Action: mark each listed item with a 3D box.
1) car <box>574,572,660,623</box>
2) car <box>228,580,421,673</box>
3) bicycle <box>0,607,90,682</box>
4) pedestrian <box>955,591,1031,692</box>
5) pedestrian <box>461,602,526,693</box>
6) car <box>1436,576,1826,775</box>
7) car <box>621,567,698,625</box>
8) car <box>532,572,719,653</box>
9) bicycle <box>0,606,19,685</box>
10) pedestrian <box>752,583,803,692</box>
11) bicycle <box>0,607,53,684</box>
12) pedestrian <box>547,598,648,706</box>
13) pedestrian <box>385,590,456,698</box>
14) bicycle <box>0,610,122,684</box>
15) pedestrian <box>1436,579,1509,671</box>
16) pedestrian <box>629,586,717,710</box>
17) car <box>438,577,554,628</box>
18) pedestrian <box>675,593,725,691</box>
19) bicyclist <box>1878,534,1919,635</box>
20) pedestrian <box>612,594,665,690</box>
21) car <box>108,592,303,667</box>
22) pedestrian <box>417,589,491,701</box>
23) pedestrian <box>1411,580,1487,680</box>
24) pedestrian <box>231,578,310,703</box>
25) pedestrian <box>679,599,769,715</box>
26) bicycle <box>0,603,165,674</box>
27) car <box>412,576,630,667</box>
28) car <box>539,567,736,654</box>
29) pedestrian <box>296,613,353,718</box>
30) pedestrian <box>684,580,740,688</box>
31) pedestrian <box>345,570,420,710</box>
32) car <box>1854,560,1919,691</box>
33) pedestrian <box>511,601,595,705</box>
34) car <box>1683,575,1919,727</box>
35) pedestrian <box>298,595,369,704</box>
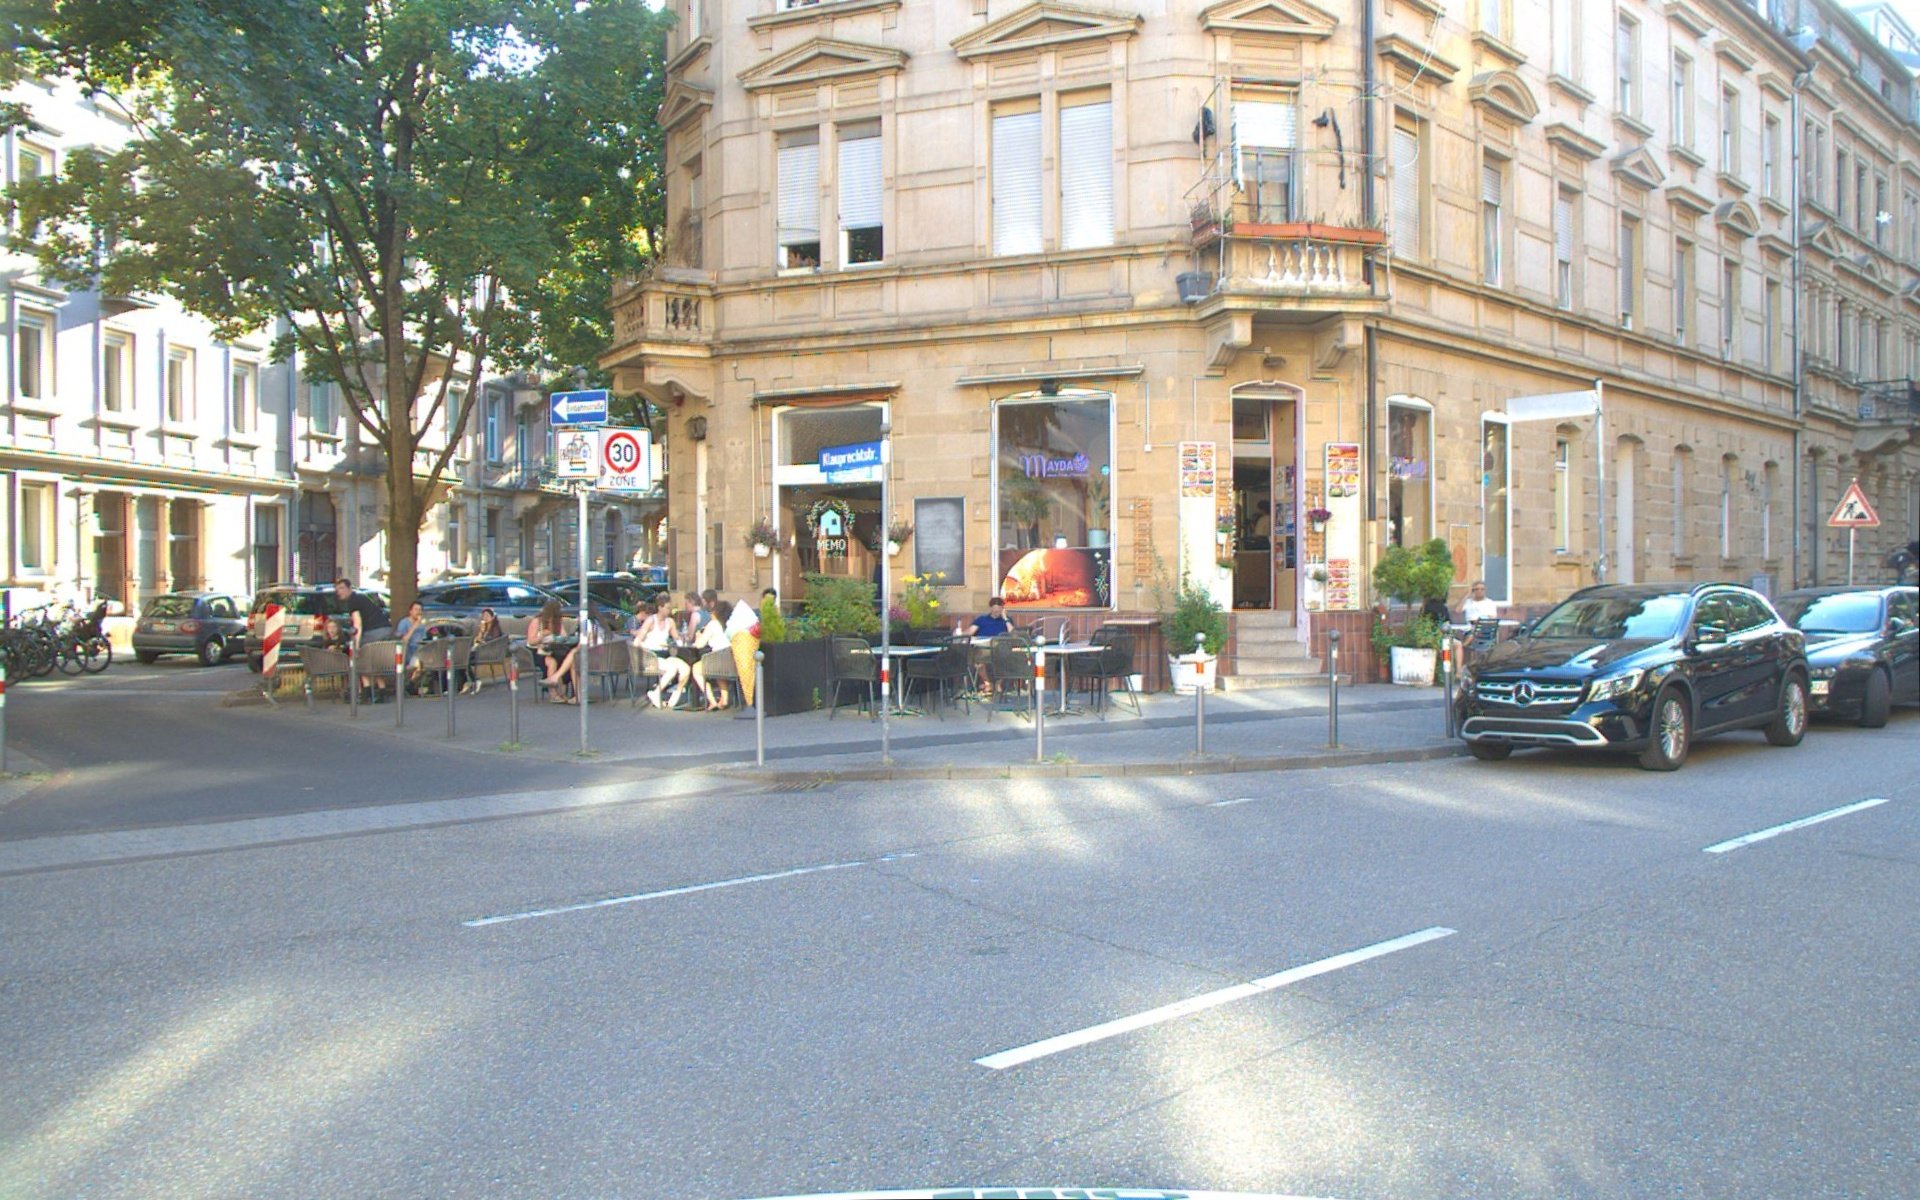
[{"bbox_3d":[-11.992,-0.097,58.091,1.768,1.713,3.755,-1,0,8],"label":"car"},{"bbox_3d":[-12.504,0.482,32.826,1.951,1.713,4.003,-1,0,6],"label":"car"},{"bbox_3d":[-16.060,0.744,27.369,3.060,1.201,0.752,-1,0,7],"label":"bicycle"},{"bbox_3d":[0.421,0.515,20.879,0.710,1.235,0.756,-1,0,23],"label":"pedestrian"},{"bbox_3d":[-6.585,0.666,23.342,0.670,1.237,0.659,-2,0,-38],"label":"pedestrian"},{"bbox_3d":[6.097,0.575,14.801,4.108,1.514,1.735,-1,0,-44],"label":"car"},{"bbox_3d":[-11.440,-0.173,63.172,1.768,2.121,3.755,-1,0,8],"label":"car"},{"bbox_3d":[-7.555,0.258,37.319,3.926,1.713,1.989,-1,0,-19],"label":"car"},{"bbox_3d":[-16.314,0.721,25.731,3.060,1.201,0.752,-1,0,7],"label":"bicycle"},{"bbox_3d":[-2.375,0.482,21.558,0.472,1.391,0.432,-1,1,34],"label":"pedestrian"},{"bbox_3d":[-16.221,0.732,26.538,3.060,1.201,0.752,-1,0,7],"label":"bicycle"},{"bbox_3d":[-4.479,0.622,20.452,1.005,1.270,0.745,0,1,39],"label":"pedestrian"},{"bbox_3d":[-7.587,0.607,23.258,0.758,1.467,0.659,-2,0,-36],"label":"pedestrian"},{"bbox_3d":[-15.958,0.800,28.210,3.060,1.201,0.752,-1,0,7],"label":"bicycle"},{"bbox_3d":[7.037,0.330,22.704,0.714,1.235,0.753,0,0,40],"label":"pedestrian"},{"bbox_3d":[-3.433,0.560,19.791,0.740,1.435,0.726,0,0,30],"label":"pedestrian"},{"bbox_3d":[-13.378,0.064,47.909,1.882,1.400,3.755,-1,1,8],"label":"car"},{"bbox_3d":[-3.441,0.549,21.928,0.473,1.270,0.431,0,1,40],"label":"pedestrian"},{"bbox_3d":[17.559,-0.290,30.357,0.982,1.821,1.200,0,1,43],"label":"bicyclist"},{"bbox_3d":[-4.358,0.559,22.437,0.473,1.270,0.508,0,1,40],"label":"pedestrian"},{"bbox_3d":[-15.250,0.554,33.645,1.882,1.400,3.755,-1,1,8],"label":"car"},{"bbox_3d":[-6.862,0.596,22.420,0.758,1.467,0.659,-2,0,-36],"label":"pedestrian"},{"bbox_3d":[6.423,0.382,21.712,0.714,1.281,0.753,0,0,40],"label":"pedestrian"},{"bbox_3d":[-9.627,0.559,23.088,0.656,1.699,0.763,-2,0,40],"label":"pedestrian"},{"bbox_3d":[-2.756,0.650,19.326,0.730,1.312,0.741,0,0,32],"label":"pedestrian"},{"bbox_3d":[-15.763,0.683,29.338,3.060,1.201,0.752,-1,0,7],"label":"bicycle"},{"bbox_3d":[-8.280,0.372,31.185,3.773,1.589,1.790,-1,0,-24],"label":"car"},{"bbox_3d":[-6.711,0.203,34.753,3.913,1.713,1.996,-1,0,-9],"label":"car"},{"bbox_3d":[-8.403,0.855,21.872,0.566,1.343,0.498,-2,1,-38],"label":"pedestrian"},{"bbox_3d":[-3.406,0.456,22.728,0.557,1.456,0.481,-1,1,31],"label":"pedestrian"},{"bbox_3d":[-7.648,0.522,21.897,0.758,1.801,0.565,-2,0,-36],"label":"pedestrian"},{"bbox_3d":[13.598,0.261,22.004,4.516,1.628,1.735,-2,0,-44],"label":"car"},{"bbox_3d":[-5.170,0.653,21.018,0.693,1.270,0.745,0,1,40],"label":"pedestrian"},{"bbox_3d":[9.905,0.486,18.447,4.514,1.477,1.736,-1,0,-43],"label":"car"},{"bbox_3d":[-8.572,0.673,22.625,0.758,1.437,0.660,-2,0,-34],"label":"pedestrian"}]
